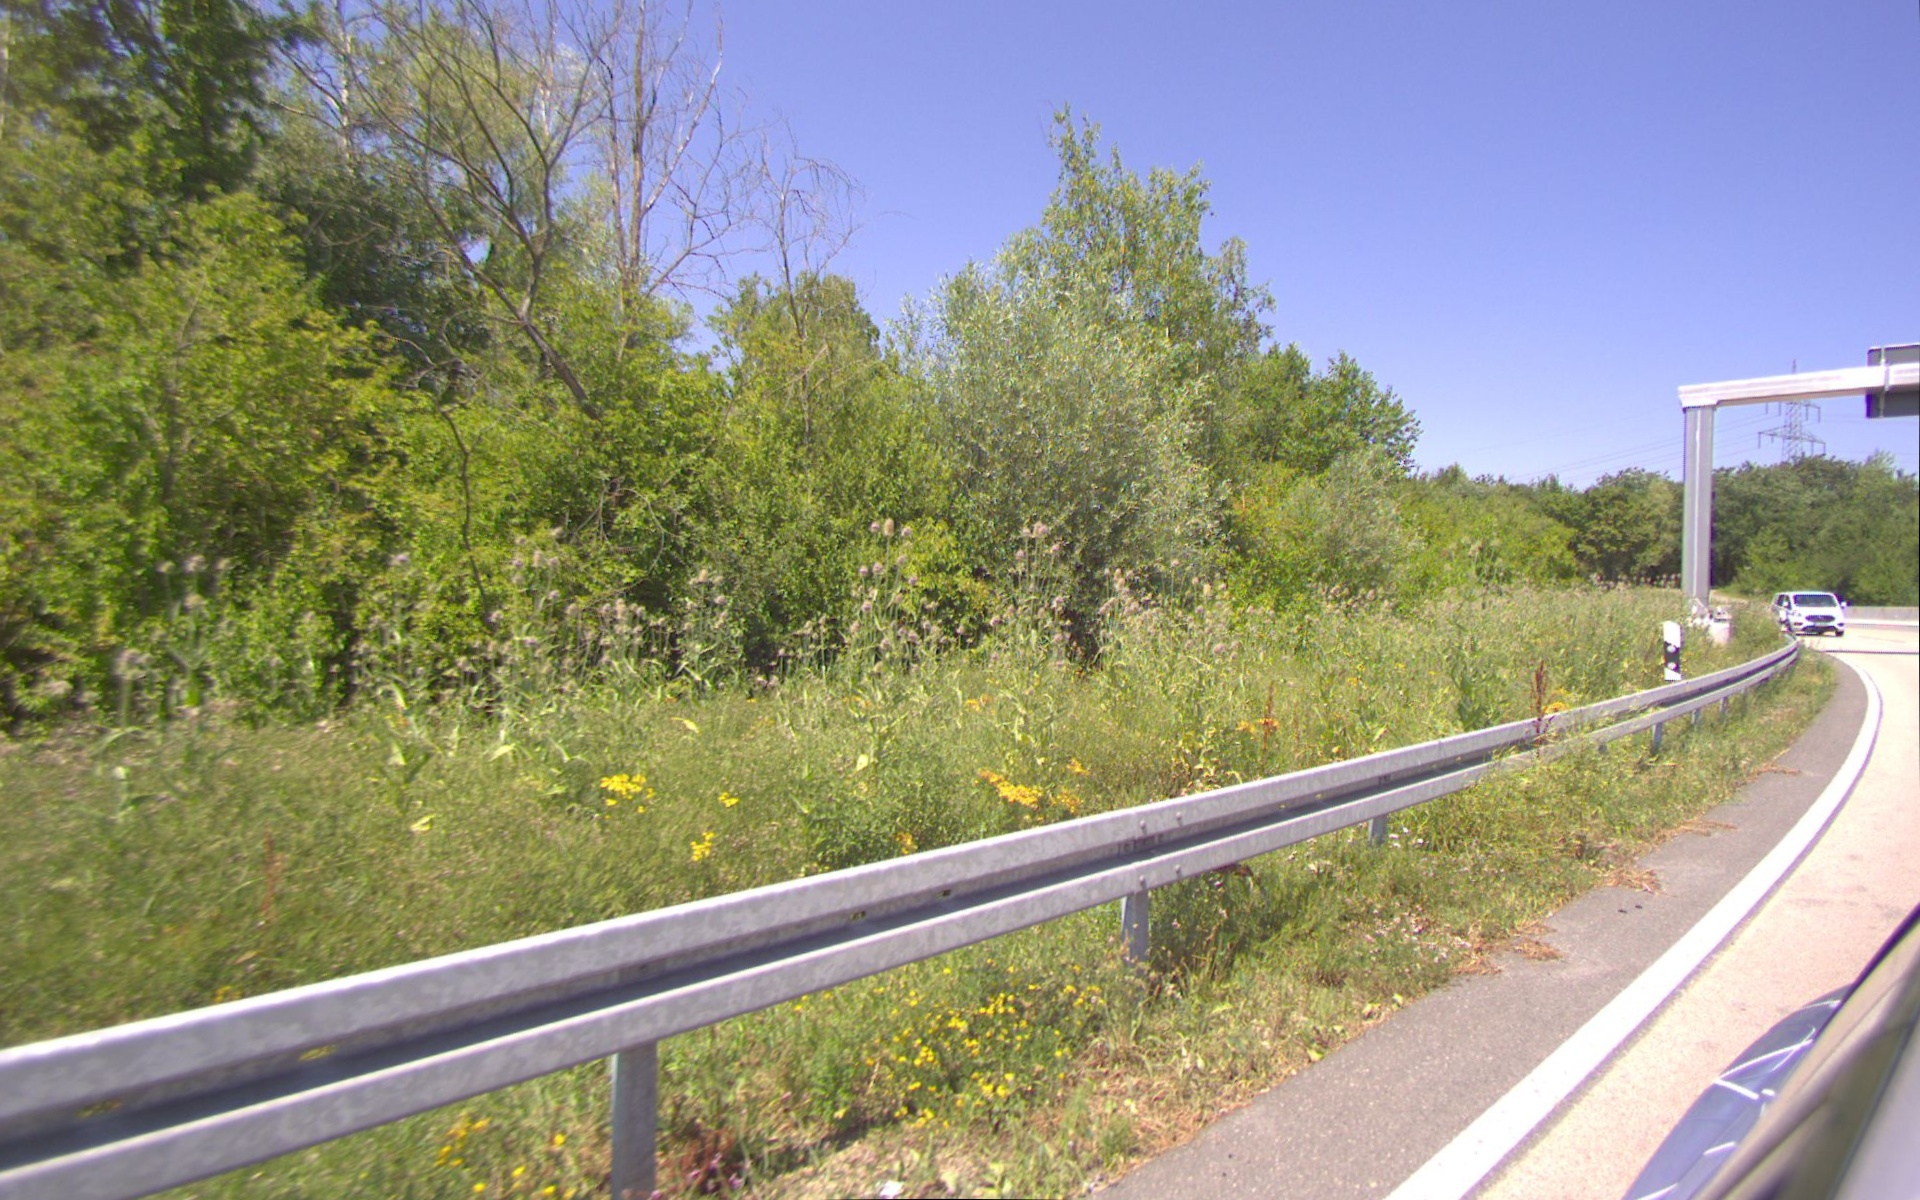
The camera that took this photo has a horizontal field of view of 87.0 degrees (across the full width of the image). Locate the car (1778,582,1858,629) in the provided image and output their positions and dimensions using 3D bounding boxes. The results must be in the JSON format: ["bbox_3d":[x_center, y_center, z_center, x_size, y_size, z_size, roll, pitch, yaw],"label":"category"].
[{"bbox_3d":[39.779,0.254,47.036,2.047,2.039,4.984,-1,0,31],"label":"car"}]
